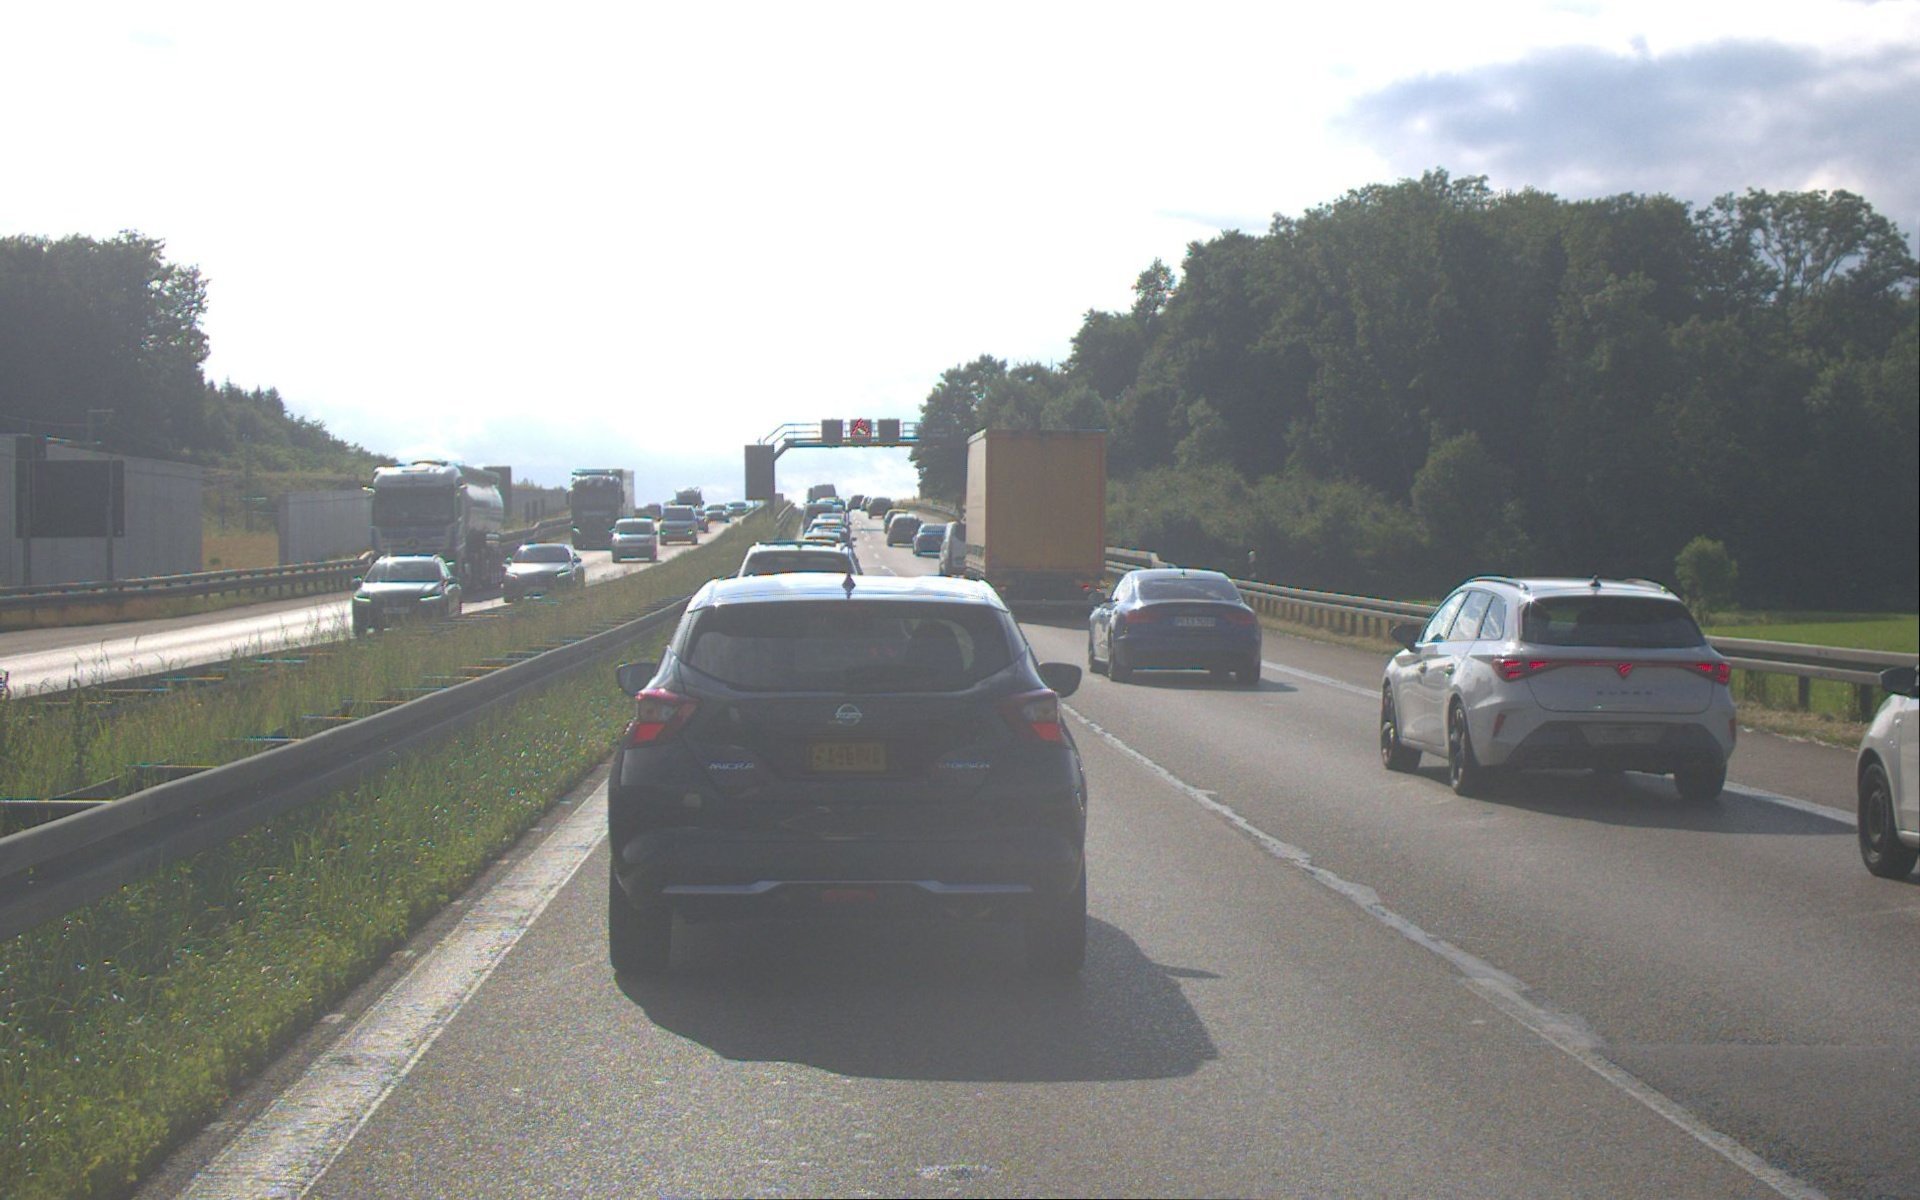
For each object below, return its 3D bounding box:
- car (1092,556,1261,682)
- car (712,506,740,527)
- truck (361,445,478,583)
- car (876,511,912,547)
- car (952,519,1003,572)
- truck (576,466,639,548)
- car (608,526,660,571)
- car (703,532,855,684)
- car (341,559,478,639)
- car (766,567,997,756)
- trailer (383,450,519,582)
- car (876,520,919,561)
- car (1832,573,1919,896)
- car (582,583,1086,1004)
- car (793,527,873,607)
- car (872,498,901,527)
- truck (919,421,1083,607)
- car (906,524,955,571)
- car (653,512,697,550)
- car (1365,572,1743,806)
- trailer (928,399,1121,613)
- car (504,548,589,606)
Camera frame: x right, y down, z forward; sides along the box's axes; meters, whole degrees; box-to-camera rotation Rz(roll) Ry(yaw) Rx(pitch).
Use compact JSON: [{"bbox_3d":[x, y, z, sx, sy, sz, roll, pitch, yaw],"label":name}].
[{"bbox_3d":[2.647,0.219,42.844,1.747,1.470,4.147,1,0,-1],"label":"car"},{"bbox_3d":[-17.453,-6.254,256.497,1.902,1.459,4.184,1,0,-2],"label":"car"},{"bbox_3d":[-15.516,-2.422,99.014,2.552,3.785,5.417,-1,0,-1],"label":"truck"},{"bbox_3d":[-3.914,-4.160,202.506,1.993,2.007,4.000,1,0,-3],"label":"car"},{"bbox_3d":[0.571,-1.835,116.428,1.667,1.749,3.327,1,0,0],"label":"car"},{"bbox_3d":[-18.148,-4.746,177.468,2.754,4.076,6.954,0,0,-2],"label":"truck"},{"bbox_3d":[-13.843,-2.174,146.162,1.860,1.827,4.281,1,0,-1],"label":"car"},{"bbox_3d":[-2.123,0.088,41.109,1.674,1.720,3.596,1,0,-1],"label":"car"},{"bbox_3d":[-10.626,-0.025,66.659,1.993,1.481,4.398,1,0,-1],"label":"car"},{"bbox_3d":[-0.609,0.445,26.972,1.674,1.362,3.596,1,0,-1],"label":"car"},{"bbox_3d":[-15.590,-2.477,106.106,2.540,3.758,12.542,-1,0,-1],"label":"trailer"},{"bbox_3d":[-3.131,-2.962,172.210,1.993,2.007,4.000,1,0,-3],"label":"car"},{"bbox_3d":[5.280,0.652,15.681,1.548,1.490,3.378,1,1,-3],"label":"car"},{"bbox_3d":[-0.447,0.658,13.487,1.710,1.421,3.378,1,0,0],"label":"car"},{"bbox_3d":[-3.323,-0.846,89.175,1.993,2.007,4.000,1,0,-3],"label":"car"},{"bbox_3d":[-5.473,-6.502,255.121,1.993,2.007,4.000,1,0,-3],"label":"car"},{"bbox_3d":[0.943,-2.057,85.120,3.581,4.365,6.689,1,0,-3],"label":"truck"},{"bbox_3d":[-1.351,-2.341,154.445,1.993,2.007,4.000,1,0,-3],"label":"car"},{"bbox_3d":[-14.980,-3.594,180.672,1.993,1.877,4.787,-2,0,-2],"label":"car"},{"bbox_3d":[3.952,0.551,23.506,1.620,1.441,4.147,1,0,-3],"label":"car"},{"bbox_3d":[1.289,-1.996,78.496,3.548,4.442,12.723,1,0,-3],"label":"trailer"},{"bbox_3d":[-11.192,-0.621,93.244,1.803,1.511,4.691,1,0,-1],"label":"car"}]
